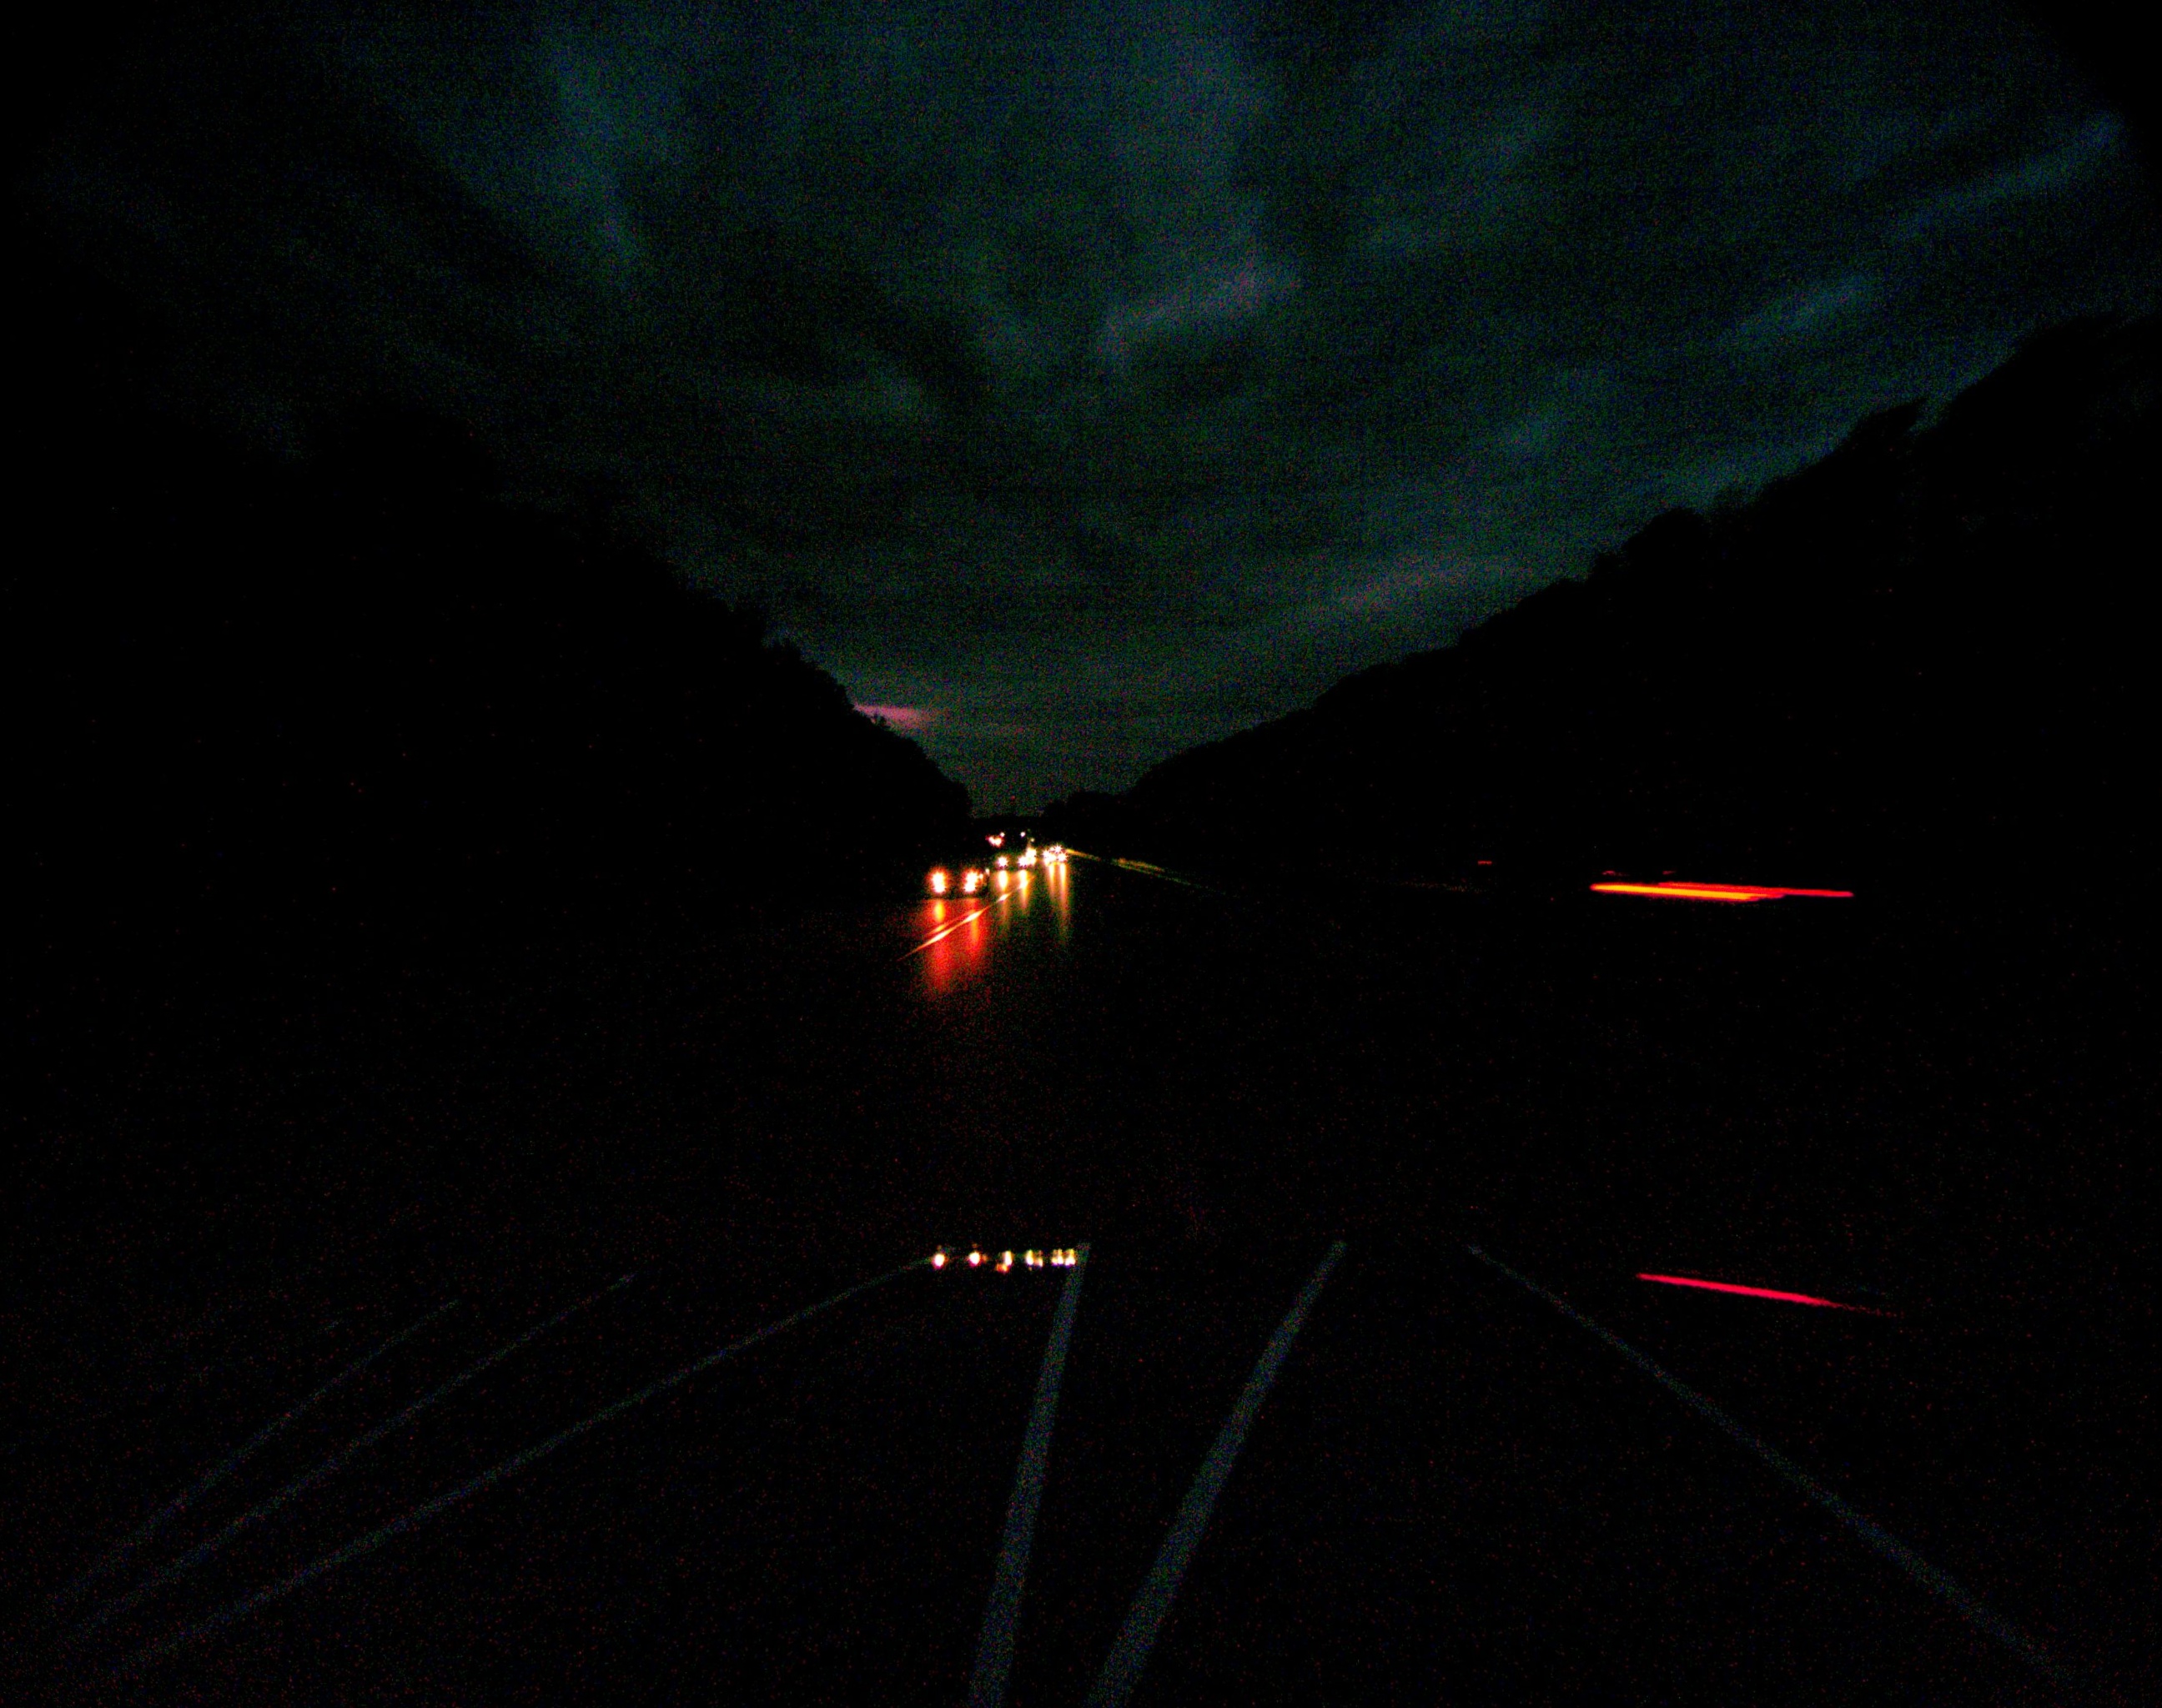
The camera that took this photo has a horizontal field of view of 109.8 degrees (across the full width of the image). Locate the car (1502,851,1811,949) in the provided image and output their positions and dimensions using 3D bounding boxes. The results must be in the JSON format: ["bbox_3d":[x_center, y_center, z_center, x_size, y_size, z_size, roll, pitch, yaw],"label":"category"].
[{"bbox_3d":[9.663,0.663,13.373,1.855,1.373,4.643,-1,1,-1],"label":"car"}]

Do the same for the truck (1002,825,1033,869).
[{"bbox_3d":[-5.994,-0.726,72.152,2.498,3.946,5.587,-2,2,-2],"label":"truck"}]

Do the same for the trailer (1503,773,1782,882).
[{"bbox_3d":[25.121,-1.116,35.694,3.199,4.081,13.738,-1,1,1],"label":"trailer"}]

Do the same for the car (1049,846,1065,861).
[{"bbox_3d":[-2.959,-0.082,96.369,1.870,1.701,4.582,-2,1,-1],"label":"car"}]

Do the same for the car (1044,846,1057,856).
[{"bbox_3d":[-5.489,-0.617,137.503,1.924,1.706,4.939,-2,2,-7],"label":"car"}]

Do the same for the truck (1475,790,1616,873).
[{"bbox_3d":[25.282,-1.206,41.924,3.199,4.081,7.688,-1,1,2],"label":"truck"}]

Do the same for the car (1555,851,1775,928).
[{"bbox_3d":[13.090,0.704,17.442,1.690,1.506,4.414,-1,1,0],"label":"car"}]

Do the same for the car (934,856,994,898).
[{"bbox_3d":[-4.666,0.864,30.999,1.696,1.481,4.948,-2,0,-1],"label":"car"}]

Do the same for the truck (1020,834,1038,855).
[{"bbox_3d":[-10.754,-2.062,156.172,3.342,3.946,13.525,-2,2,-5],"label":"truck"}]

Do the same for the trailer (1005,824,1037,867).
[{"bbox_3d":[-6.161,-1.052,79.235,2.489,4.050,13.498,-2,2,-2],"label":"trailer"}]

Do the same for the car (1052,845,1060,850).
[{"bbox_3d":[-6.519,-1.696,197.761,1.696,1.481,4.945,-1,1,-6],"label":"car"}]
